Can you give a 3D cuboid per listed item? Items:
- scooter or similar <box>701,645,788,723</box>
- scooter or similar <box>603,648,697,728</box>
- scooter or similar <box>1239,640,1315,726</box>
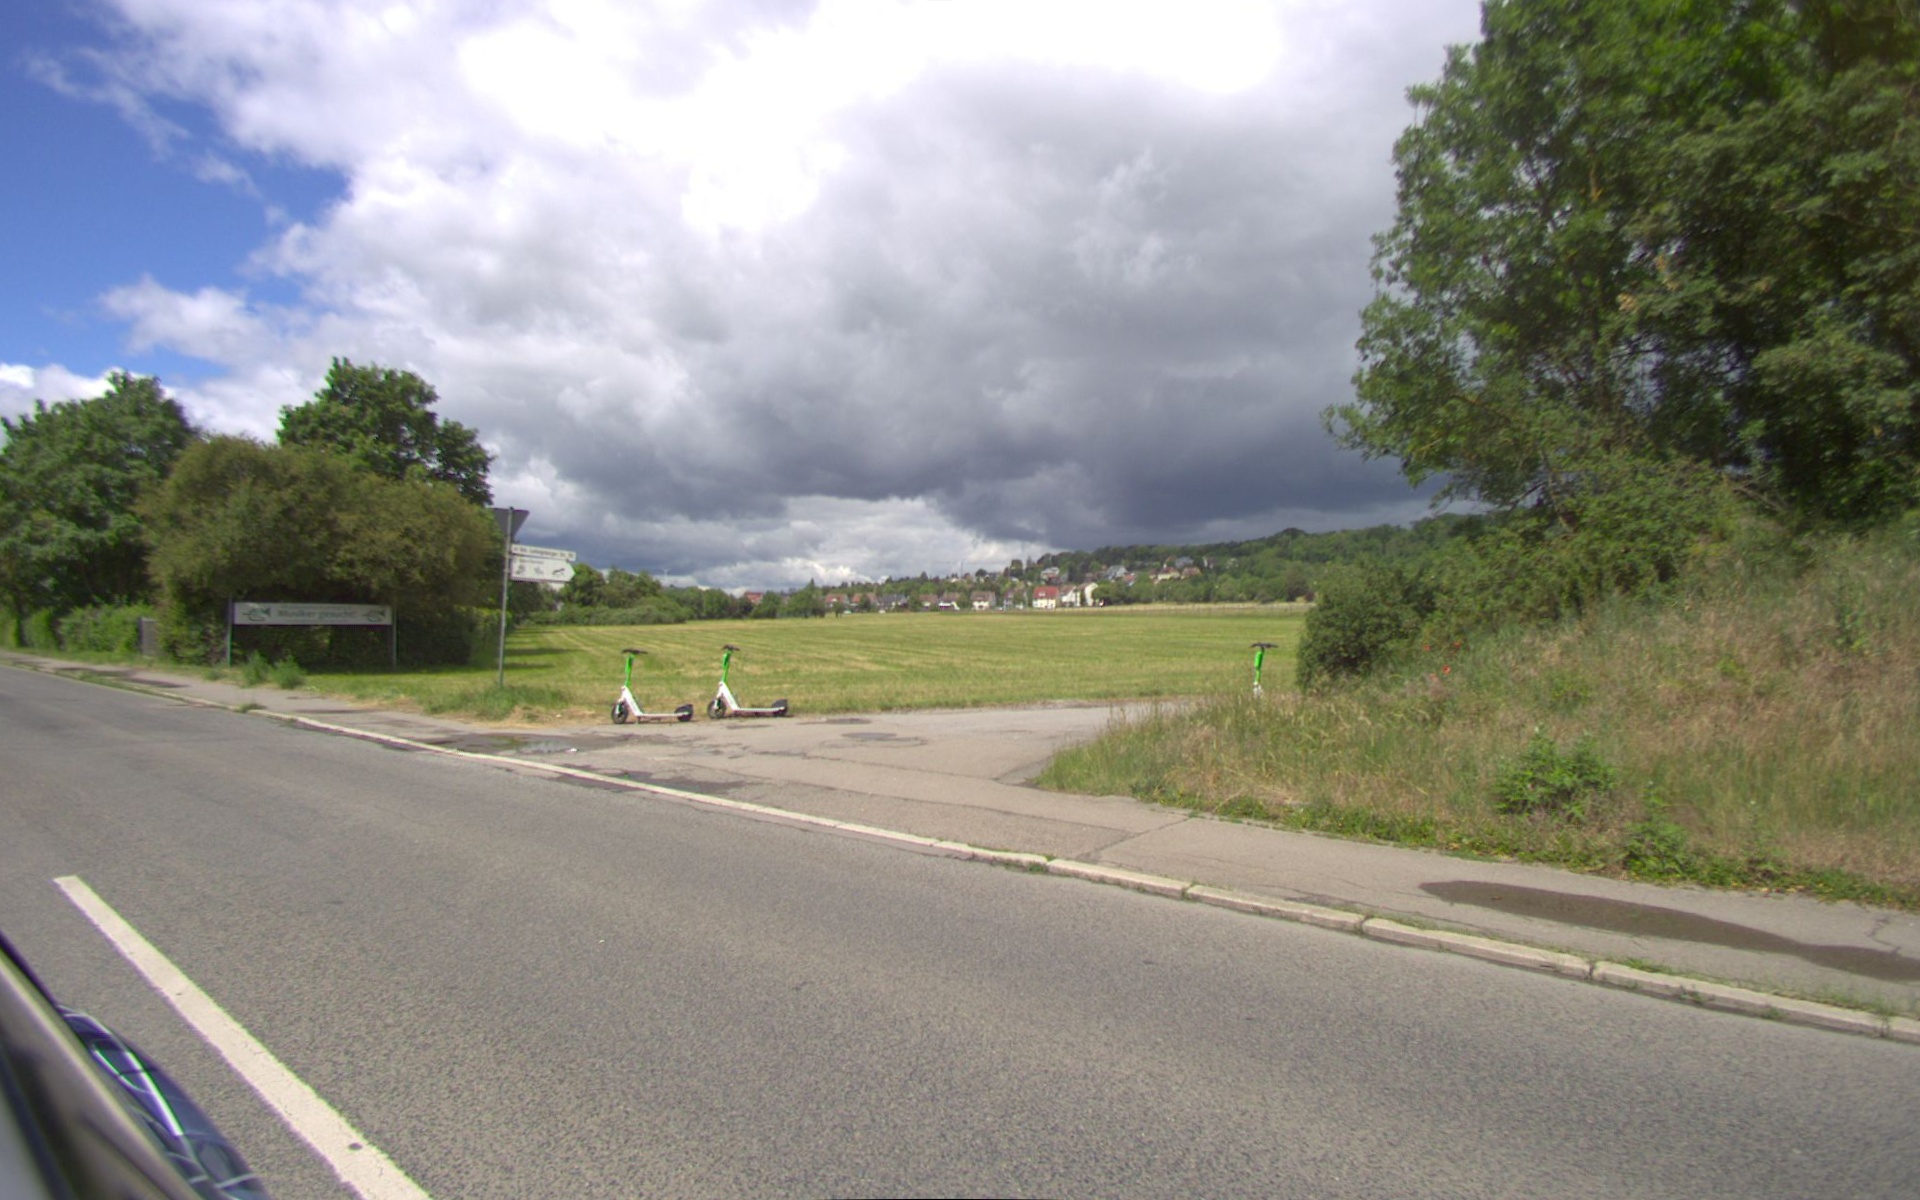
[{"bbox_3d":[-3.439,1.331,16.176,1.329,1.177,0.407,-1,-1,-8],"label":"scooter or similar"},{"bbox_3d":[-4.776,1.350,15.623,1.331,1.177,0.407,-1,-1,-3],"label":"scooter or similar"},{"bbox_3d":[4.636,1.183,14.778,1.227,1.177,0.408,0,-2,-37],"label":"scooter or similar"}]
